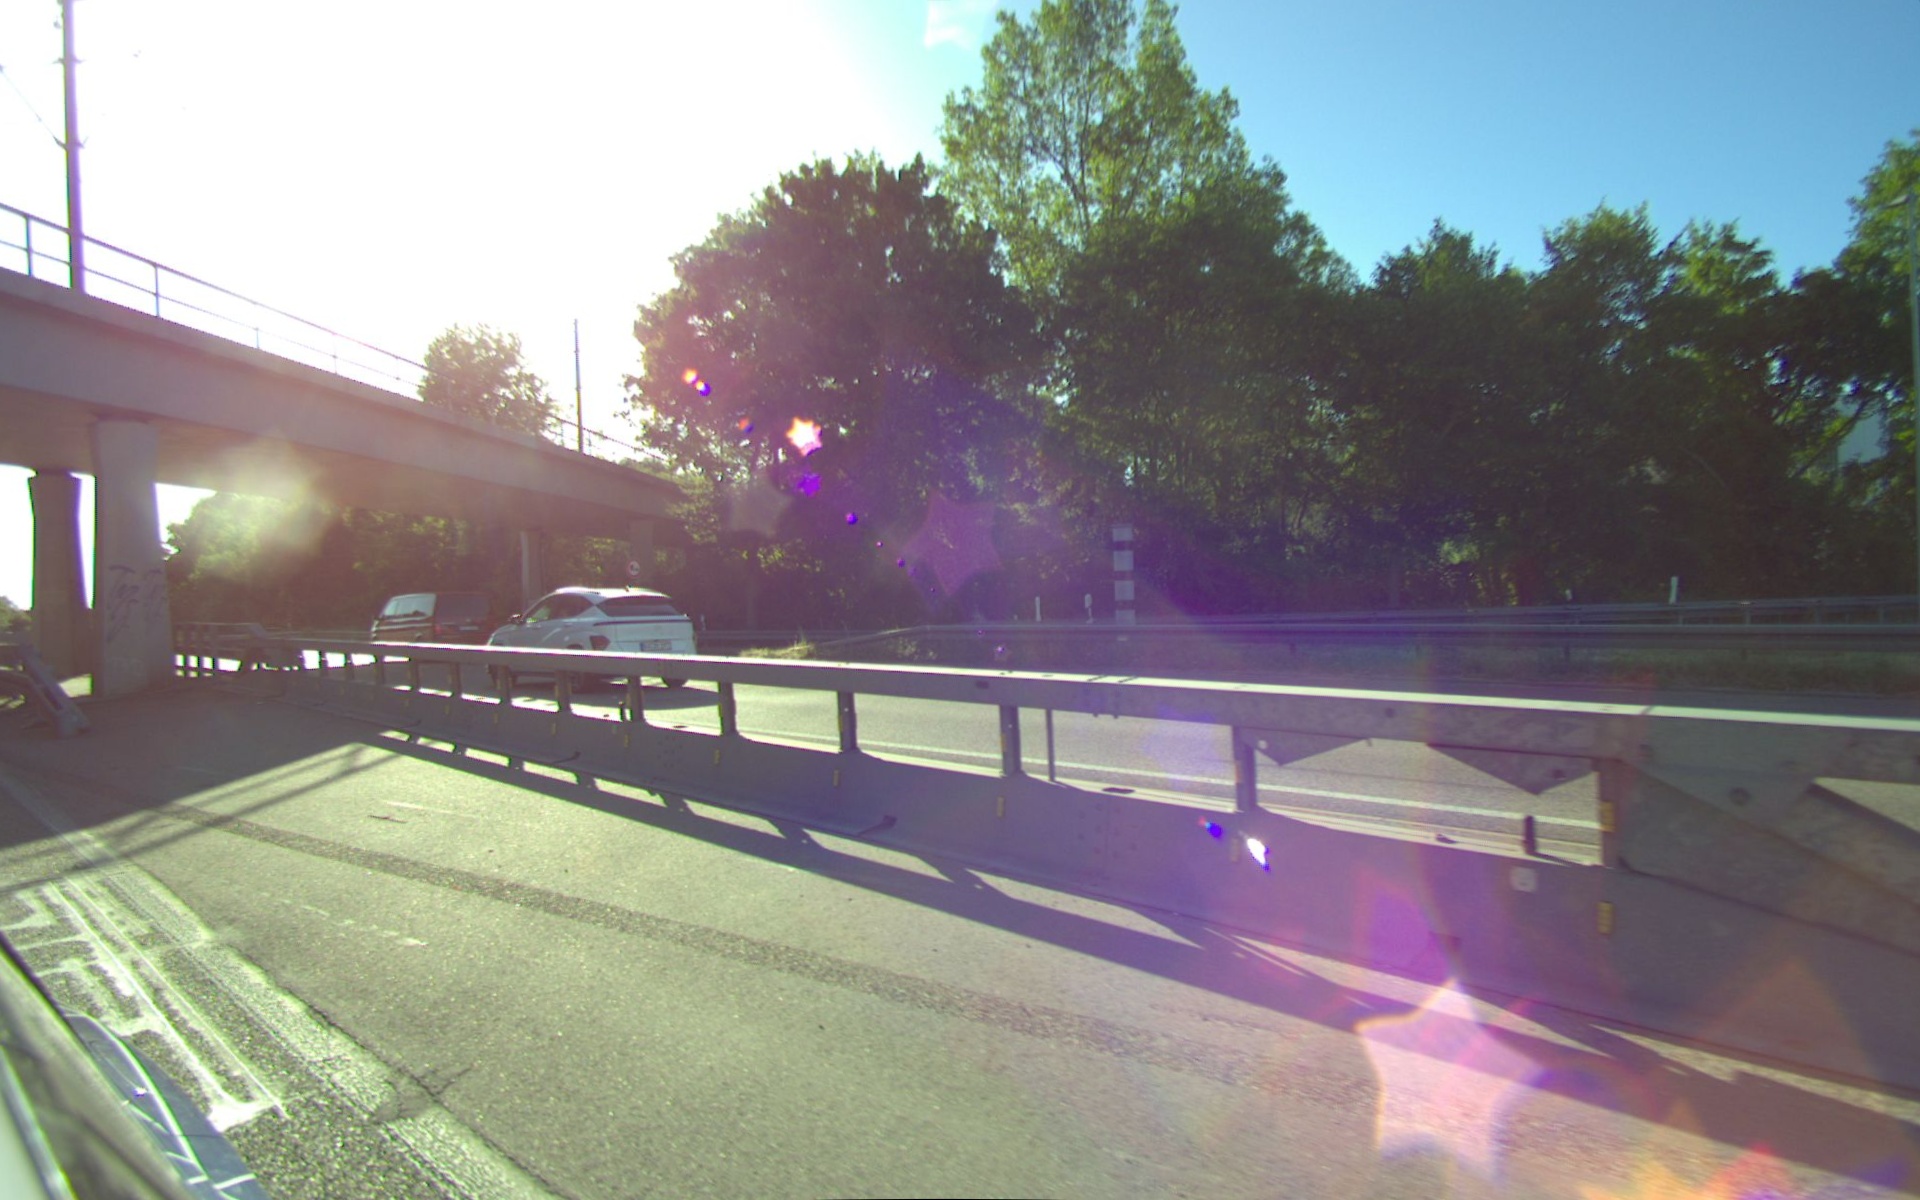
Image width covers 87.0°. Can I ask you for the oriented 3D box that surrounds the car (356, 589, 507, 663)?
[{"bbox_3d":[-15.229,0.736,28.998,5.519,1.925,1.973,-2,-1,41],"label":"car"}]

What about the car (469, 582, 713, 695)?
[{"bbox_3d":[-6.059,0.591,16.343,4.531,1.590,1.768,-2,-1,42],"label":"car"}]

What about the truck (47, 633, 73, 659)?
[{"bbox_3d":[-123.532,6.219,138.925,2.390,3.423,9.625,-1,-1,-43],"label":"truck"}]
